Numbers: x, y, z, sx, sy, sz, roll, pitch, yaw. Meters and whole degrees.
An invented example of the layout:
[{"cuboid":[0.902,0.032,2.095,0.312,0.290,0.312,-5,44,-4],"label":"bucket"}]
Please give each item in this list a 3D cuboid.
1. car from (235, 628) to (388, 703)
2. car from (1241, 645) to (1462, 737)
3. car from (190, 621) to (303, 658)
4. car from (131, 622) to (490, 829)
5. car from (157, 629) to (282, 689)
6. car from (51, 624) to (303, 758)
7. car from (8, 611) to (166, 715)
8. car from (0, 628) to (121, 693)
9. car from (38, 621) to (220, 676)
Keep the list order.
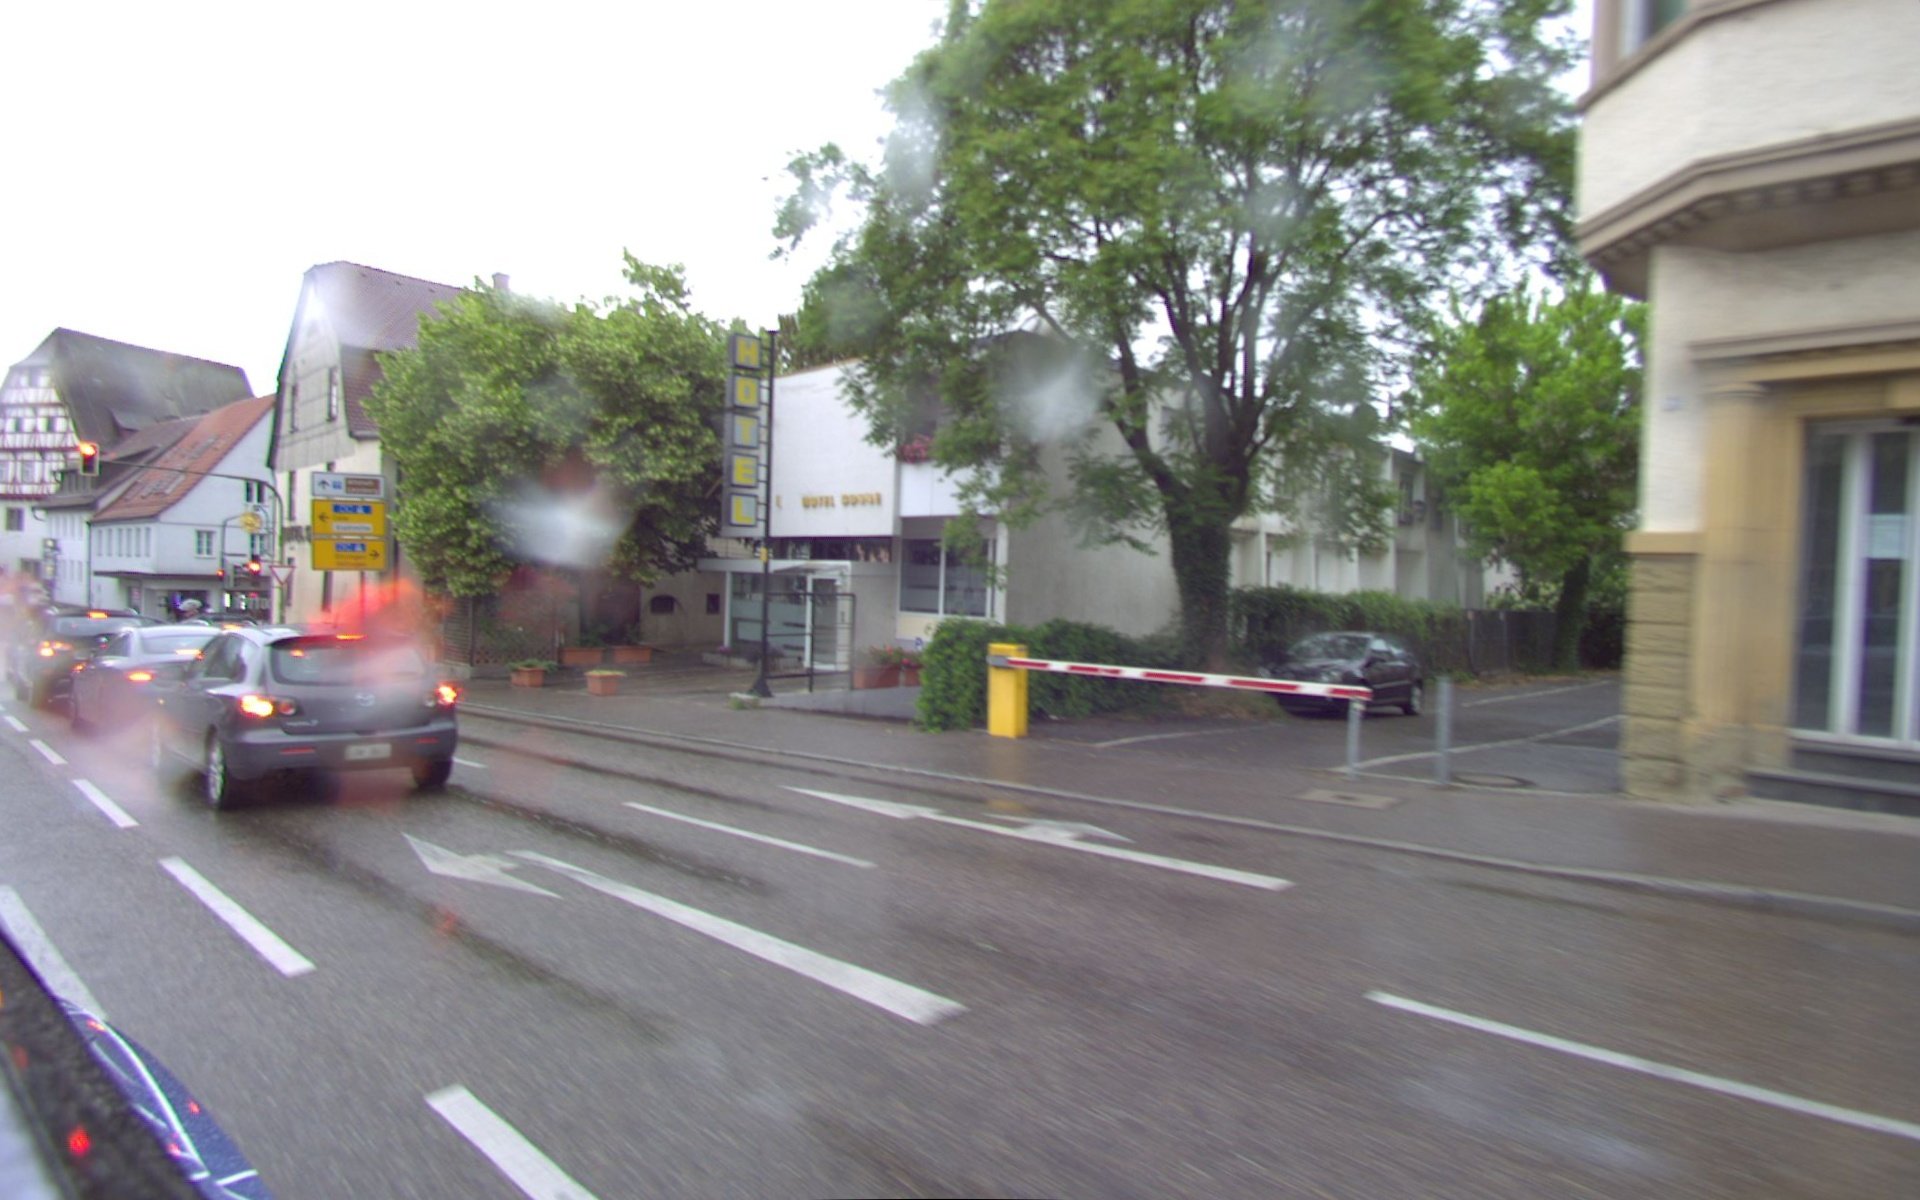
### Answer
[{"cuboid":[-13.372,1.262,20.786,4.060,1.364,1.718,-1,-2,43],"label":"car"},{"cuboid":[6.786,1.512,17.406,3.935,1.380,1.790,3,-4,-38],"label":"car"},{"cuboid":[-31.872,1.733,45.247,3.937,1.554,2.003,1,-2,-41],"label":"car"},{"cuboid":[-6.220,0.942,9.422,4.690,1.450,1.779,-1,-2,44],"label":"car"},{"cuboid":[-18.124,1.380,24.698,4.034,1.303,1.827,-2,-2,44],"label":"car"},{"cuboid":[-10.602,1.059,13.541,5.016,1.451,1.919,-1,-2,43],"label":"car"},{"cuboid":[-15.971,1.057,18.449,4.221,1.676,1.827,-2,-2,44],"label":"car"},{"cuboid":[-20.965,1.342,23.547,3.748,1.374,1.793,-1,-2,43],"label":"car"},{"cuboid":[-30.742,1.739,37.571,1.999,1.859,4.963,-1,-2,42],"label":"car"}]
